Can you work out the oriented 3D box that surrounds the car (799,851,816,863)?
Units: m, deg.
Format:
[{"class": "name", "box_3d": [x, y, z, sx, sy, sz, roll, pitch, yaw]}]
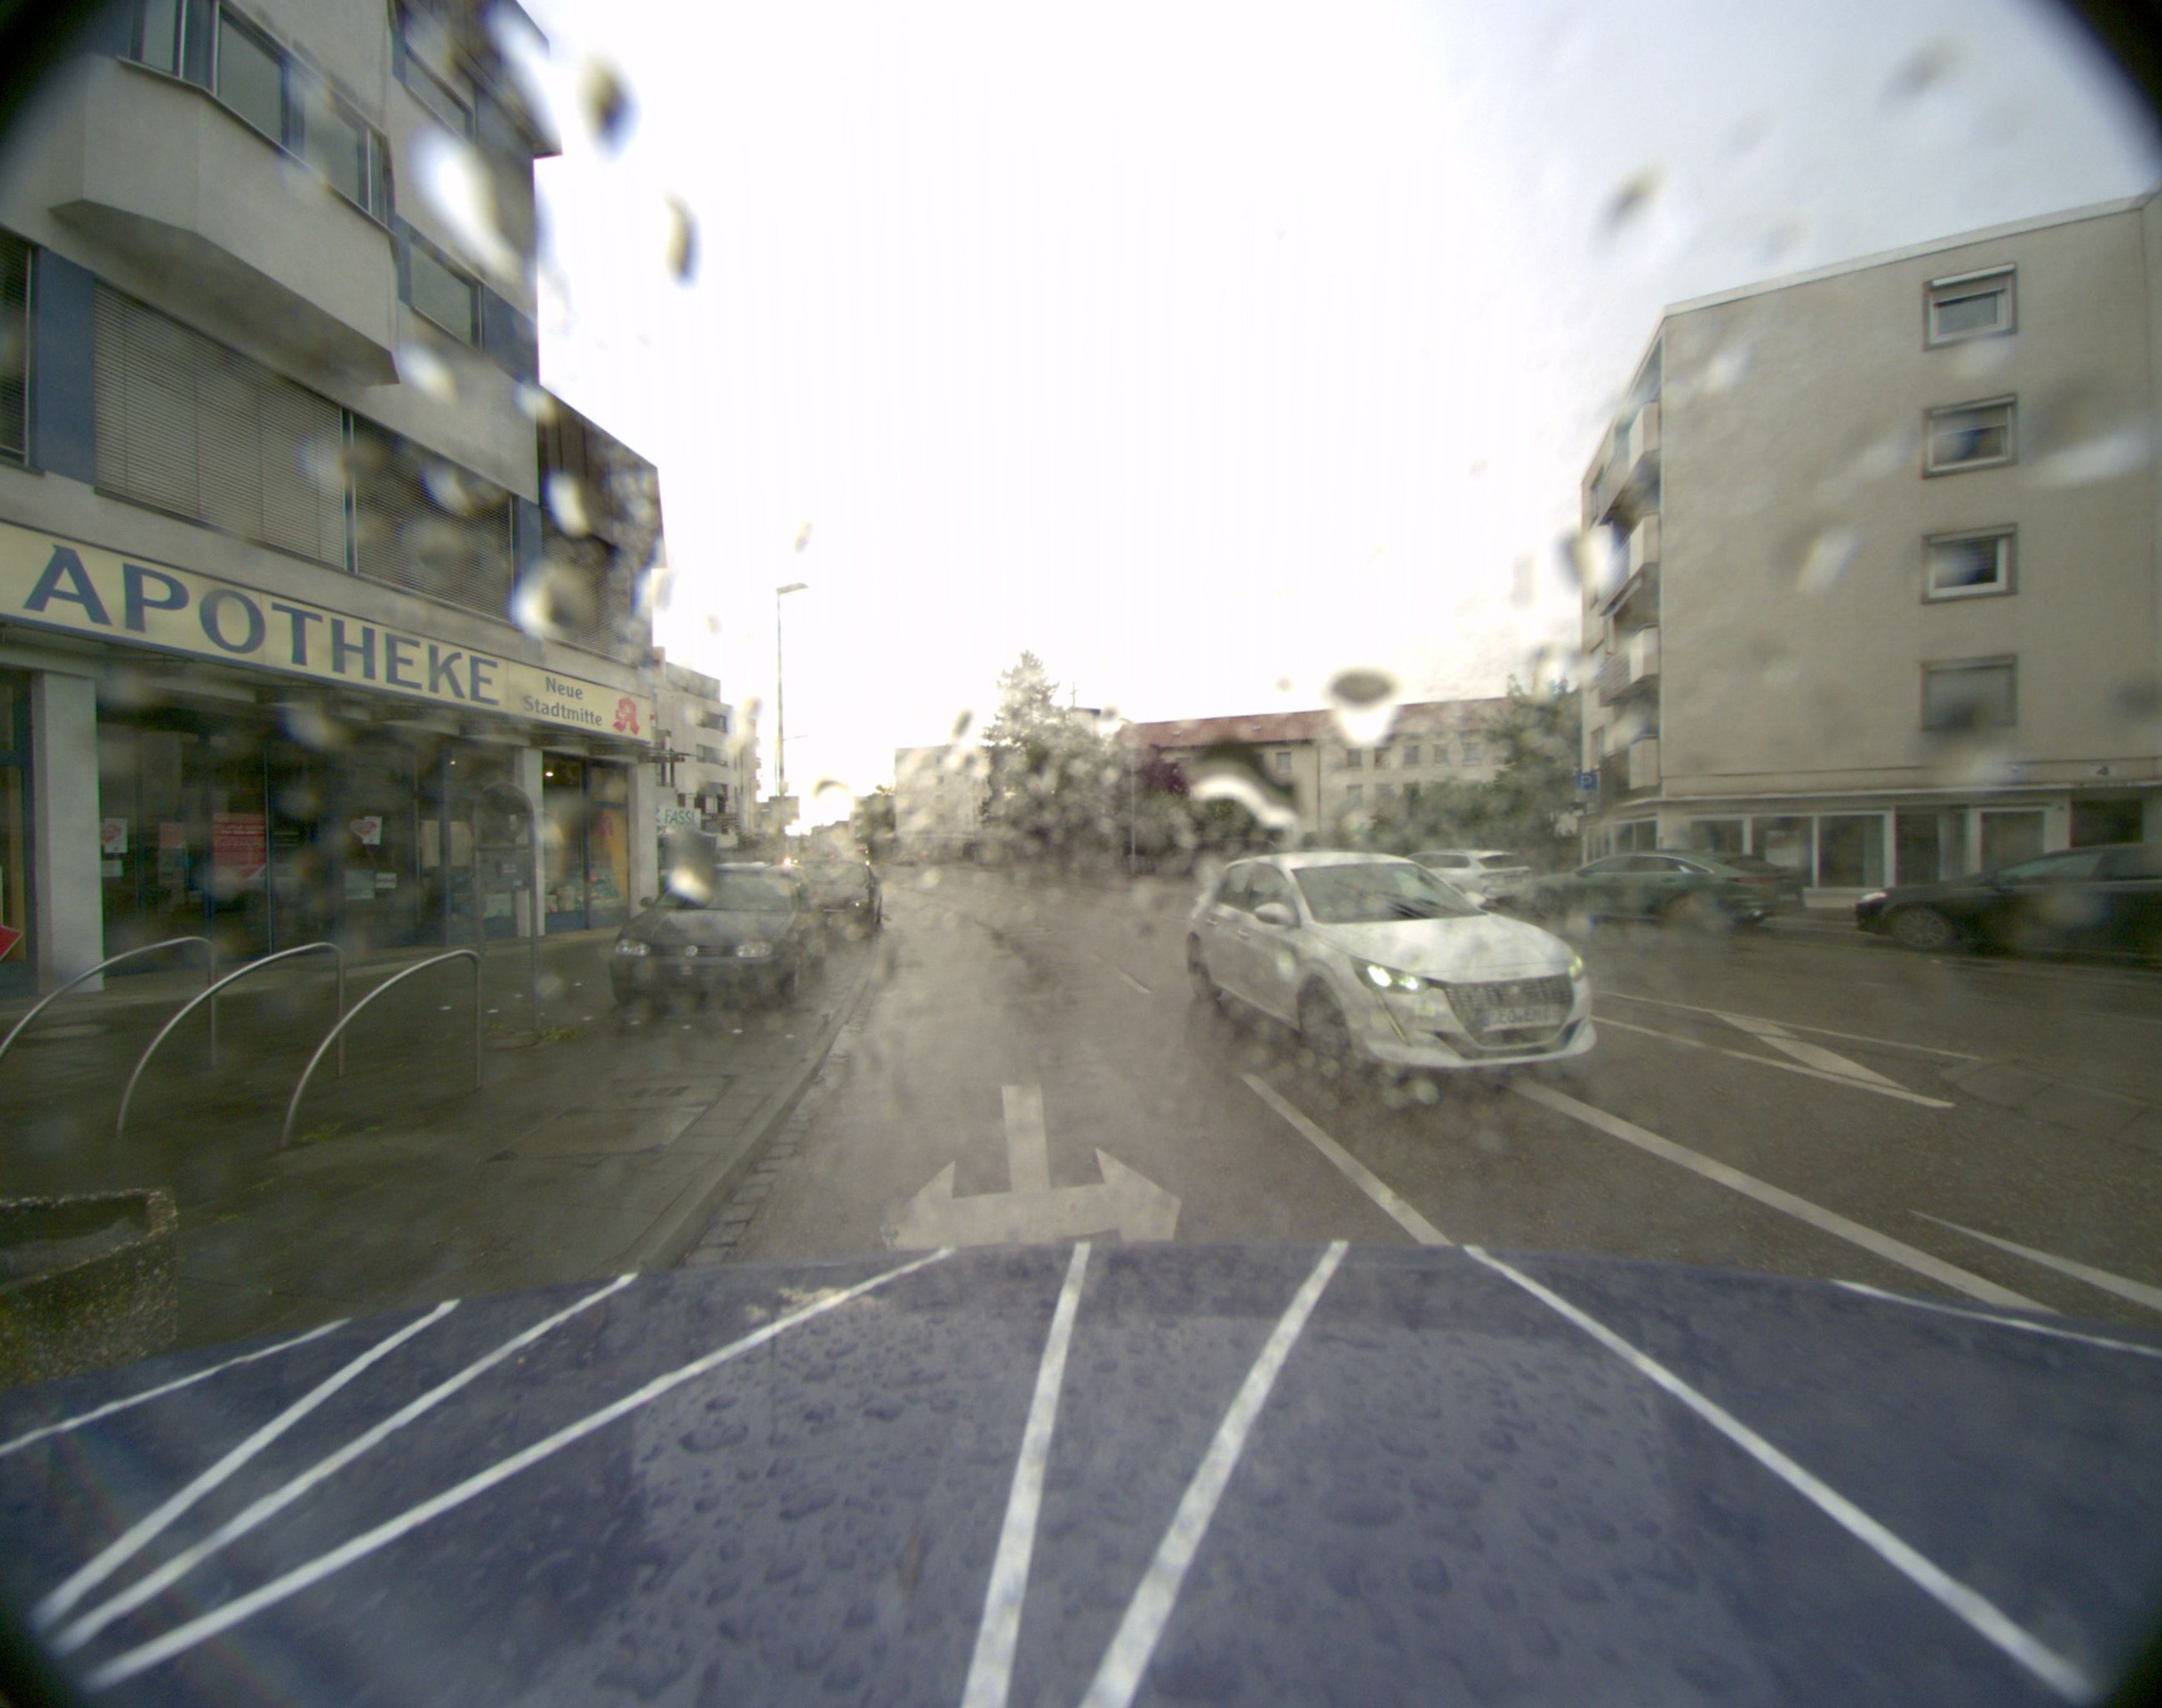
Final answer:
[{"class": "car", "box_3d": [-35.495, 0.391, 98.445, 1.804, 1.361, 3.964, -1, 2, -24]}]

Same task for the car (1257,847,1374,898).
[{"class": "car", "box_3d": [7.503, 0.521, 24.699, 1.636, 1.497, 3.873, -1, 1, -20]}]

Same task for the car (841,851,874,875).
[{"class": "car", "box_3d": [-14.939, 0.545, 50.674, 1.737, 1.436, 4.039, -2, 2, -21]}]

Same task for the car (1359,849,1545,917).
[{"class": "car", "box_3d": [9.296, 0.631, 19.478, 1.639, 1.491, 4.338, -1, 1, -21]}]

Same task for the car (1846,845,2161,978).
[{"class": "car", "box_3d": [12.921, 0.643, 9.615, 1.839, 1.451, 4.180, -2, 2, -21]}]

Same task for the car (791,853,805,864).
[{"class": "car", "box_3d": [-45.873, 0.737, 123.264, 2.002, 1.606, 3.993, -3, 1, -21]}]

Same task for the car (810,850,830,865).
[{"class": "car", "box_3d": [-26.735, 0.343, 77.824, 1.736, 1.519, 4.056, -1, 0, -21]}]

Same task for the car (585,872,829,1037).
[{"class": "car", "box_3d": [-4.001, 0.956, 8.770, 1.656, 1.364, 3.727, 1, 0, -12]}]

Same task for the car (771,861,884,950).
[{"class": "car", "box_3d": [-4.800, 0.877, 14.868, 1.660, 1.416, 3.995, -1, 1, -12]}]

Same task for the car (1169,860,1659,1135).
[{"class": "car", "box_3d": [2.182, 0.805, 6.248, 1.744, 1.401, 3.892, -3, 1, -11]}]

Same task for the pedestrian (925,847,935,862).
[{"class": "pedestrian", "box_3d": [-17.414, 0.066, 87.731, 0.857, 1.726, 0.834, -1, 2, -29]}]

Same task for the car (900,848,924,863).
[{"class": "car", "box_3d": [-17.465, 0.163, 78.360, 1.874, 1.428, 3.733, -1, 1, -20]}]

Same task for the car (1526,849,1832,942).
[{"class": "car", "box_3d": [11.146, 0.655, 14.582, 1.839, 1.426, 4.266, -2, 2, -21]}]
